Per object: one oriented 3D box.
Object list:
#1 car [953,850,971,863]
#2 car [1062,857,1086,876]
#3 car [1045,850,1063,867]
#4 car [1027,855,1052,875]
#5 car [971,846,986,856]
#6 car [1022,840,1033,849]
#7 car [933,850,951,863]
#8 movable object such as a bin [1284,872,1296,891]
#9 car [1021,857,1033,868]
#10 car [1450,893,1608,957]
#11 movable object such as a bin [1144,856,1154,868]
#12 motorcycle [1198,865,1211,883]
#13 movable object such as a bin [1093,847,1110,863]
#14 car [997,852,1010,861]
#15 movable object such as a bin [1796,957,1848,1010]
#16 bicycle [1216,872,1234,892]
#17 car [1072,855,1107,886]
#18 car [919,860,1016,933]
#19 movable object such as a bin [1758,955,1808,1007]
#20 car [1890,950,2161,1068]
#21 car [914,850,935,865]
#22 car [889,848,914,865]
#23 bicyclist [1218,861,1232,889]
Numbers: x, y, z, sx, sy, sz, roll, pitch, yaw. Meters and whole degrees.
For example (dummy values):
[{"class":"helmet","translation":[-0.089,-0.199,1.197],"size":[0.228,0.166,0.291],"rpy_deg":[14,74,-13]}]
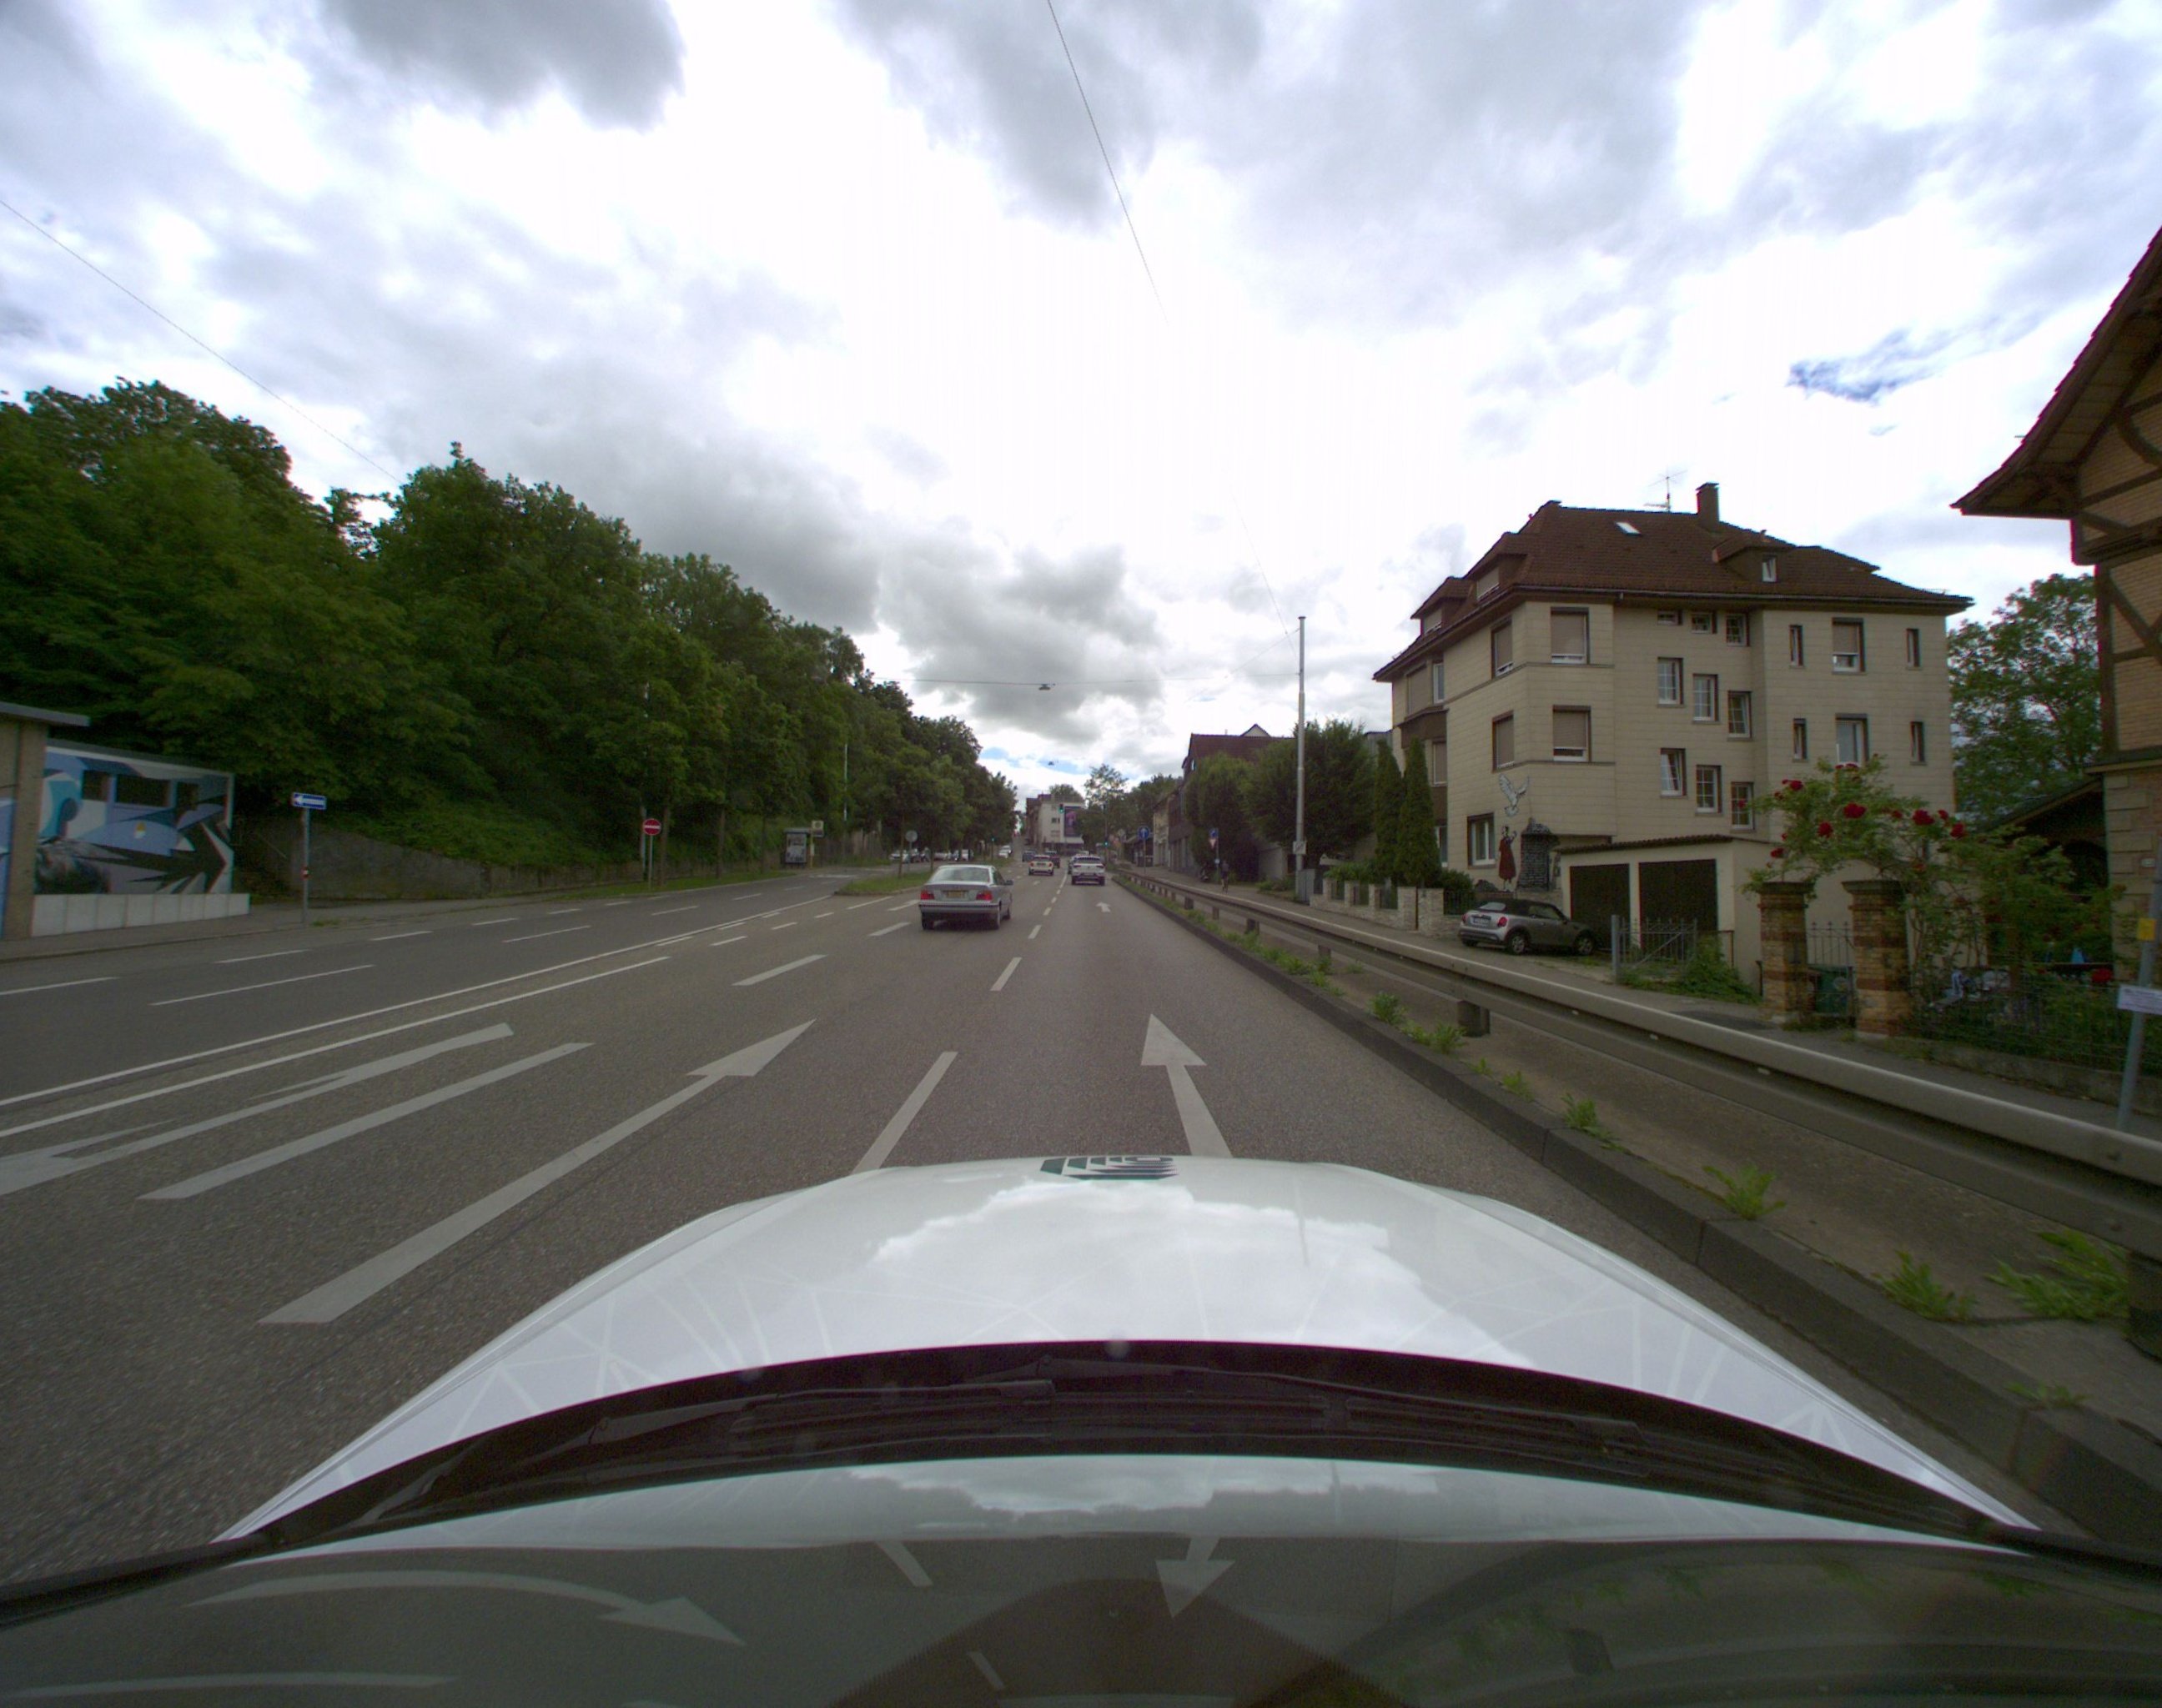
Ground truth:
[{"class":"car","translation":[-15.905,0.349,108.956],"size":[1.855,1.670,4.276],"rpy_deg":[2,0,-2]},{"class":"car","translation":[-0.560,0.986,63.720],"size":[1.718,1.376,3.453],"rpy_deg":[-2,-1,-2]},{"class":"car","translation":[-2.719,0.497,81.817],"size":[1.719,1.640,3.452],"rpy_deg":[-2,-1,-3]},{"class":"car","translation":[-2.931,0.790,58.148],"size":[1.719,1.376,3.453],"rpy_deg":[-2,-1,-3]},{"class":"car","translation":[-16.326,-0.540,129.971],"size":[1.855,1.541,4.275],"rpy_deg":[2,0,-3]},{"class":"car","translation":[-13.421,-2.410,205.196],"size":[2.502,2.013,5.180],"rpy_deg":[2,0,0]},{"class":"car","translation":[-18.814,0.317,110.143],"size":[1.855,1.593,4.275],"rpy_deg":[2,0,-3]},{"class":"movable object such as a bin","translation":[11.928,1.545,46.422],"size":[0.493,1.057,0.538],"rpy_deg":[2,0,0]},{"class":"car","translation":[-7.941,1.215,120.422],"size":[1.719,1.583,3.452],"rpy_deg":[-2,-1,-3]},{"class":"car","translation":[12.151,1.926,22.111],"size":[3.611,1.435,1.695],"rpy_deg":[4,-1,-17]},{"class":"movable object such as a bin","translation":[8.311,0.928,99.658],"size":[1.192,1.408,0.710],"rpy_deg":[2,0,-2]},{"class":"motorcycle","translation":[8.608,1.399,56.855],"size":[0.606,1.162,2.040],"rpy_deg":[-1,0,0]},{"class":"movable object such as a bin","translation":[2.590,0.132,102.440],"size":[1.891,1.870,1.524],"rpy_deg":[2,0,-10]},{"class":"car","translation":[-13.261,0.398,139.362],"size":[1.855,1.541,4.275],"rpy_deg":[2,0,-3]},{"class":"movable object such as a bin","translation":[16.163,2.823,17.779],"size":[0.575,1.046,0.589],"rpy_deg":[2,0,2]},{"class":"bicycle","translation":[8.289,1.596,46.906],"size":[0.565,1.063,2.003],"rpy_deg":[-2,0,-3]},{"class":"car","translation":[0.425,0.872,44.037],"size":[1.791,1.519,3.455],"rpy_deg":[-2,-1,0]},{"class":"car","translation":[-2.461,0.879,18.713],"size":[1.630,1.383,4.618],"rpy_deg":[1,0,-1]},{"class":"movable object such as a bin","translation":[15.138,2.732,17.571],"size":[0.531,1.005,0.622],"rpy_deg":[2,0,2]},{"class":"car","translation":[18.433,2.955,15.765],"size":[3.650,1.582,1.834],"rpy_deg":[6,0,-2]},{"class":"car","translation":[-18.785,0.416,98.017],"size":[1.855,1.670,4.275],"rpy_deg":[2,0,-3]},{"class":"car","translation":[-19.361,0.266,87.819],"size":[1.855,1.670,4.275],"rpy_deg":[2,0,-3]},{"class":"bicyclist","translation":[8.271,1.187,46.817],"size":[0.565,1.525,0.958],"rpy_deg":[-2,0,-3]}]
